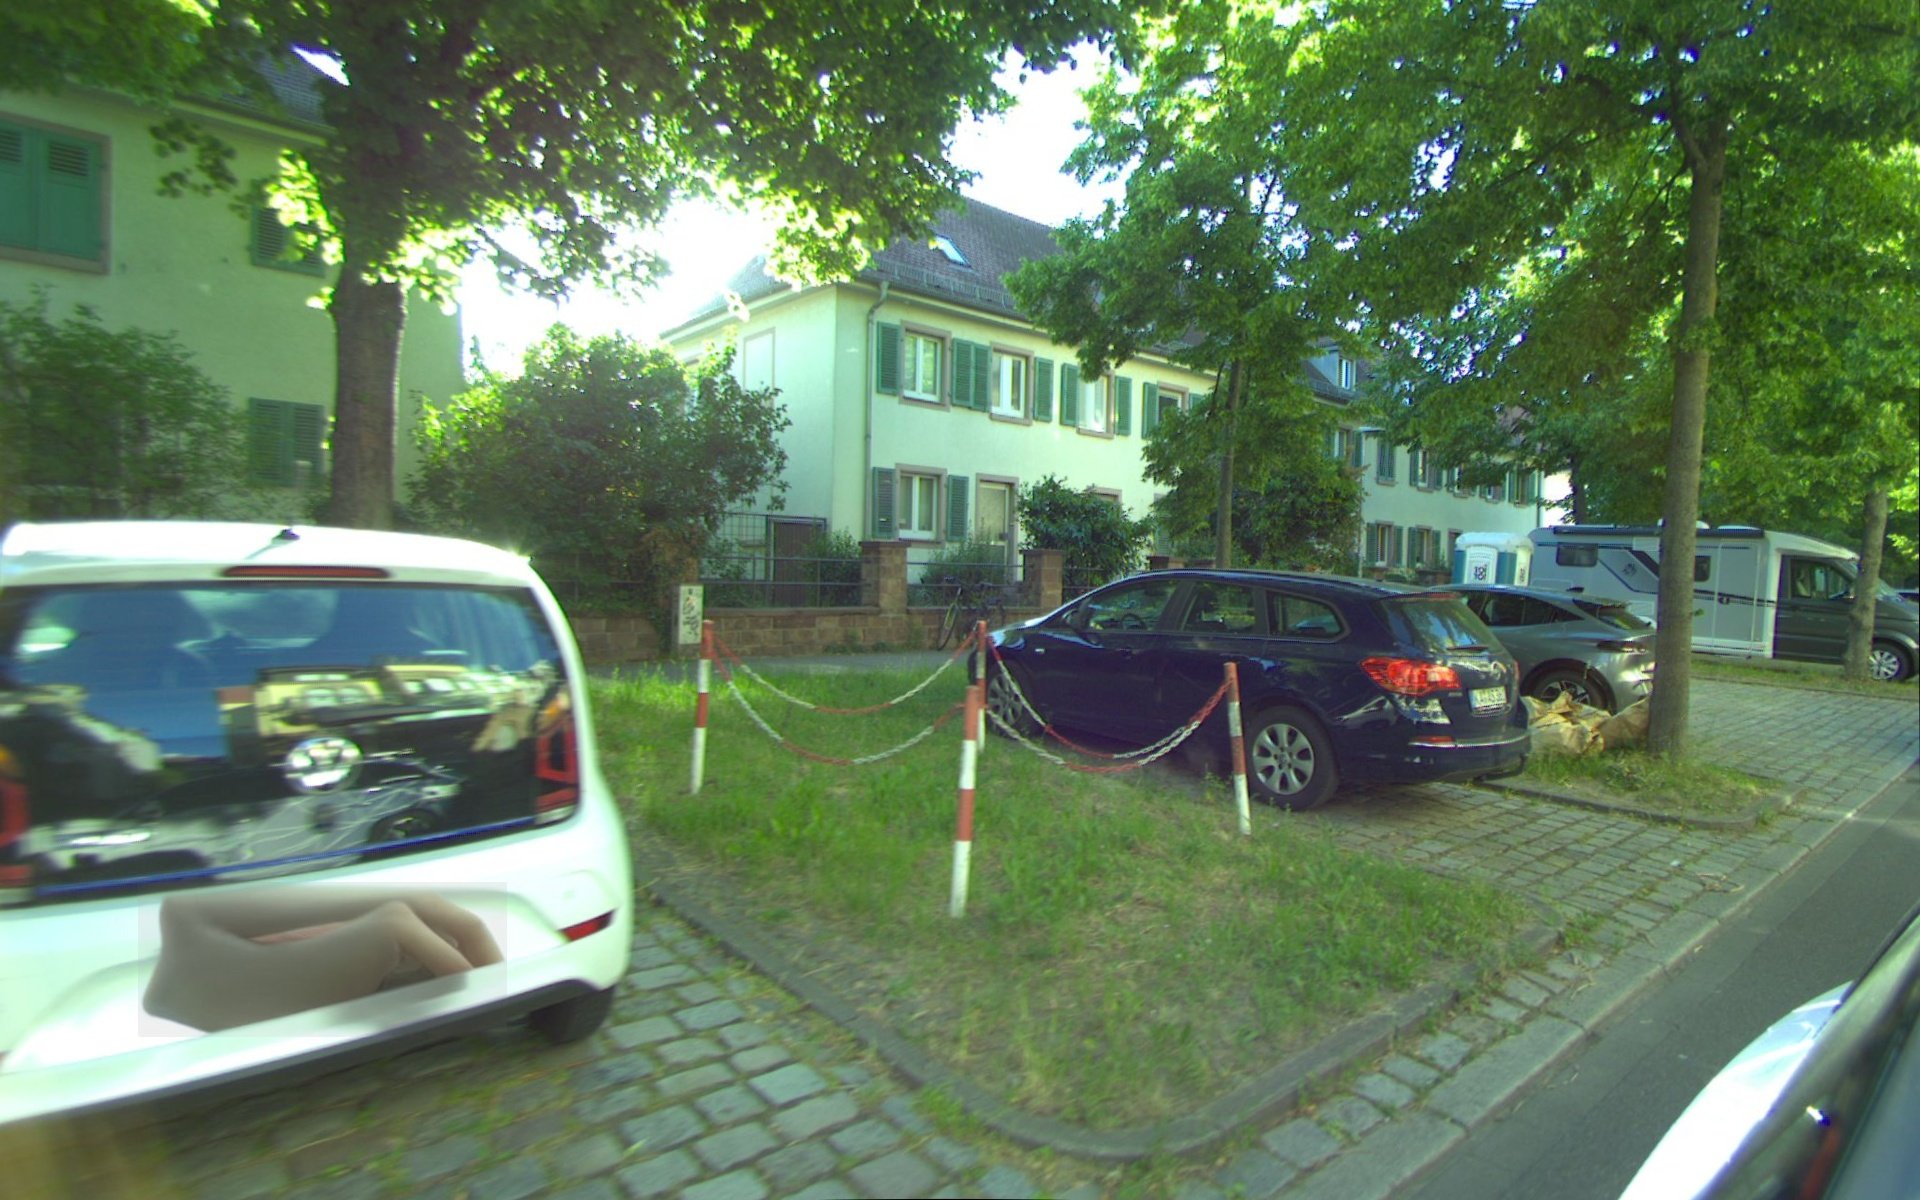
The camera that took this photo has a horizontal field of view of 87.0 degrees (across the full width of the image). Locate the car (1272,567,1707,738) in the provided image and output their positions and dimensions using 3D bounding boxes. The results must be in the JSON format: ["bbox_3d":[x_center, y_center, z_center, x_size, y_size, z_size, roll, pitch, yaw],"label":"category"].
[{"bbox_3d":[5.882,0.422,11.569,1.967,1.537,3.992,-2,3,-43],"label":"car"}]

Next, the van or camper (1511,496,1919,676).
[{"bbox_3d":[14.921,-0.366,19.408,2.385,2.939,7.264,-2,3,-40],"label":"van or camper"}]

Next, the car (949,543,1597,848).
[{"bbox_3d":[1.993,0.415,7.706,1.721,1.495,4.471,0,4,-39],"label":"car"}]

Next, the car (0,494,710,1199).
[{"bbox_3d":[-2.417,0.452,3.442,1.664,1.493,3.456,0,4,-40],"label":"car"}]

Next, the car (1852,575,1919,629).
[{"bbox_3d":[35.435,0.102,36.853,1.960,1.905,4.004,0,2,-31],"label":"car"}]

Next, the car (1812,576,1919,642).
[{"bbox_3d":[27.677,0.261,29.539,1.965,1.836,3.996,0,2,-40],"label":"car"}]
